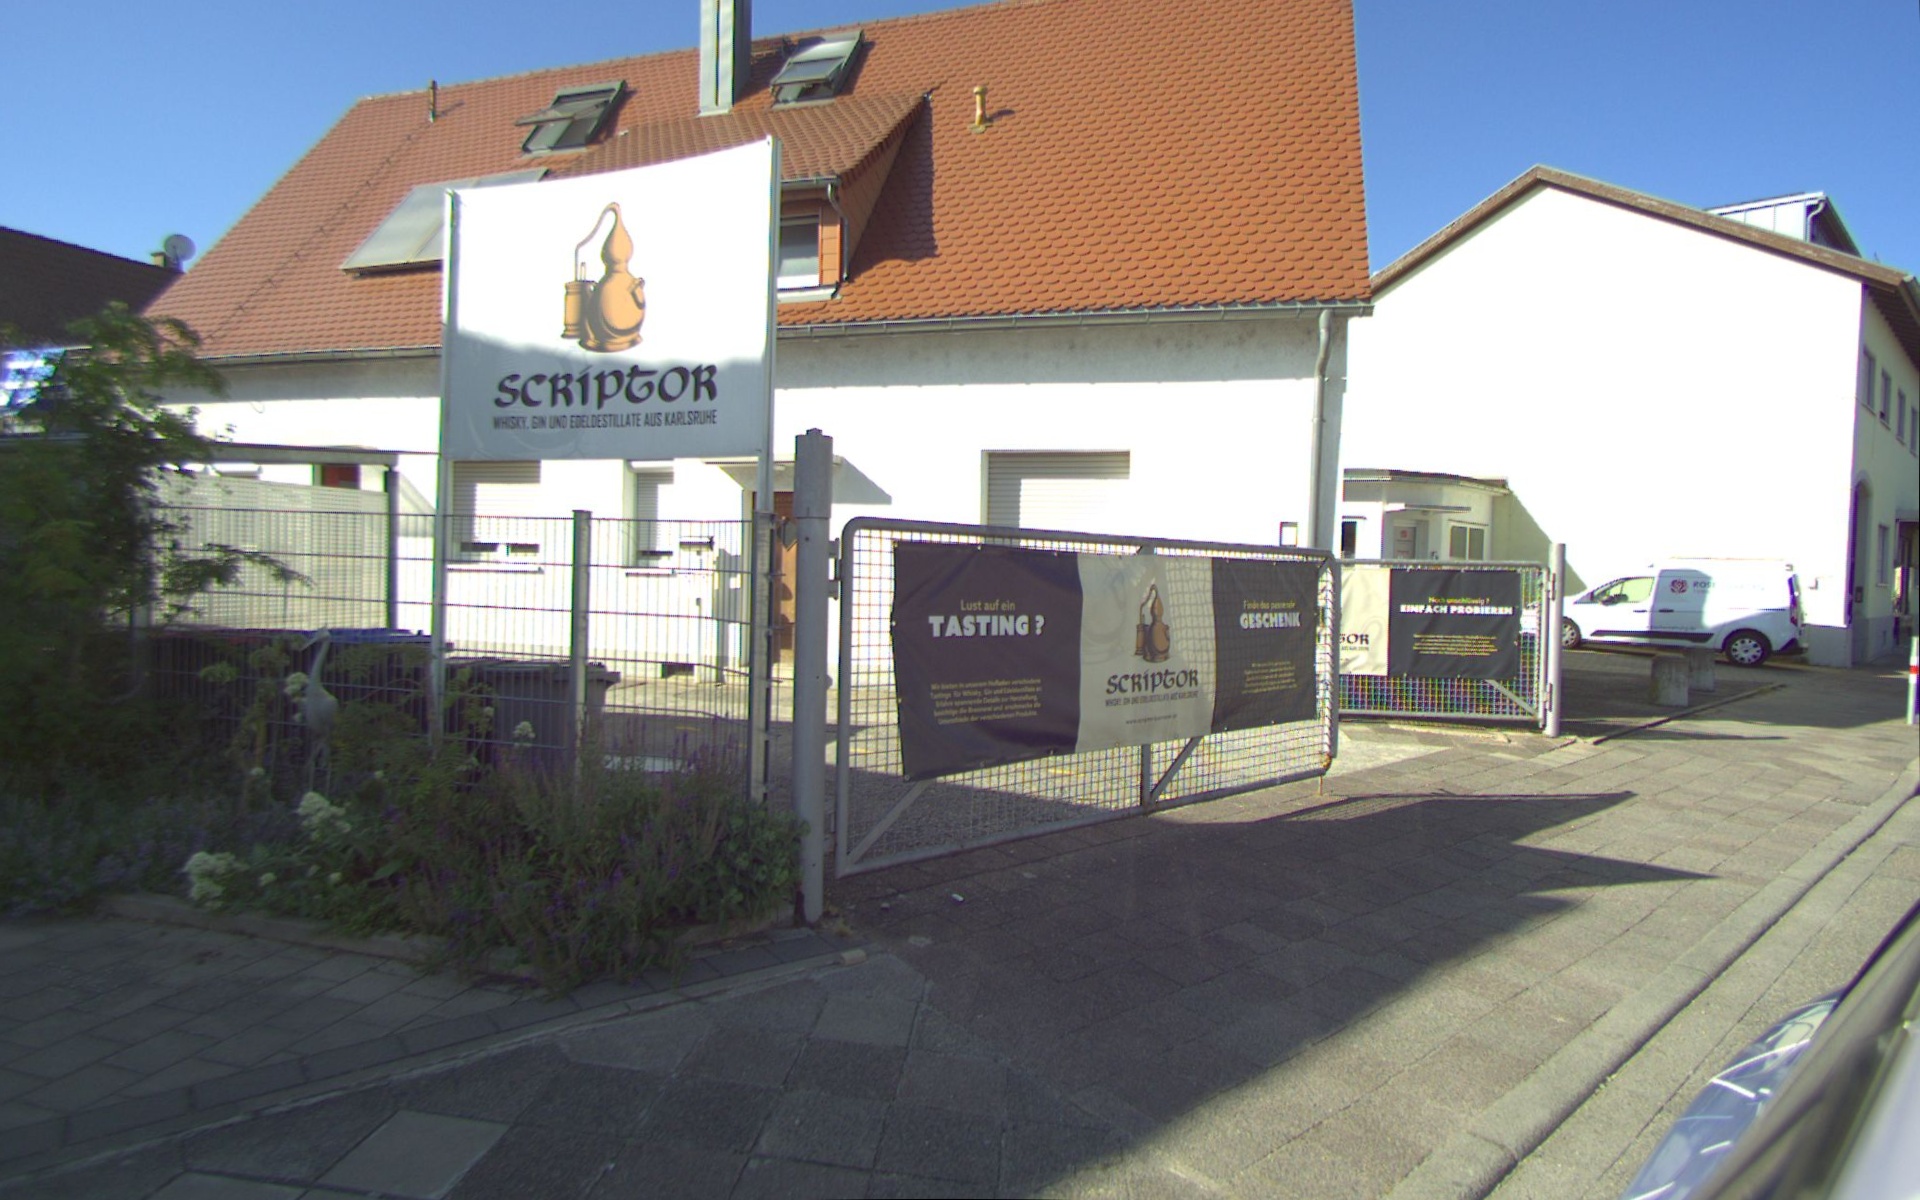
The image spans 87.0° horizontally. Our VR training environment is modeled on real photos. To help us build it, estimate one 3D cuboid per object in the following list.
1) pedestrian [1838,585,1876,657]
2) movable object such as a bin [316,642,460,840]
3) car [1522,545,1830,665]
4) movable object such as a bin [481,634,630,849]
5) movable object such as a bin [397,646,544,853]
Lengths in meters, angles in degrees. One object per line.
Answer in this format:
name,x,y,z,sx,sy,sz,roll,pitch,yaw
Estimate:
pedestrian,20.005,0.459,22.564,0.564,1.571,0.758,2,1,45
movable object such as a bin,-2.943,0.701,5.221,0.510,0.934,0.420,0,0,20
car,14.239,0.011,20.340,4.763,1.909,1.879,7,4,42
movable object such as a bin,-1.912,0.643,4.809,0.510,0.934,0.420,0,0,20
movable object such as a bin,-2.416,0.711,5.011,0.510,0.934,0.420,0,0,20
